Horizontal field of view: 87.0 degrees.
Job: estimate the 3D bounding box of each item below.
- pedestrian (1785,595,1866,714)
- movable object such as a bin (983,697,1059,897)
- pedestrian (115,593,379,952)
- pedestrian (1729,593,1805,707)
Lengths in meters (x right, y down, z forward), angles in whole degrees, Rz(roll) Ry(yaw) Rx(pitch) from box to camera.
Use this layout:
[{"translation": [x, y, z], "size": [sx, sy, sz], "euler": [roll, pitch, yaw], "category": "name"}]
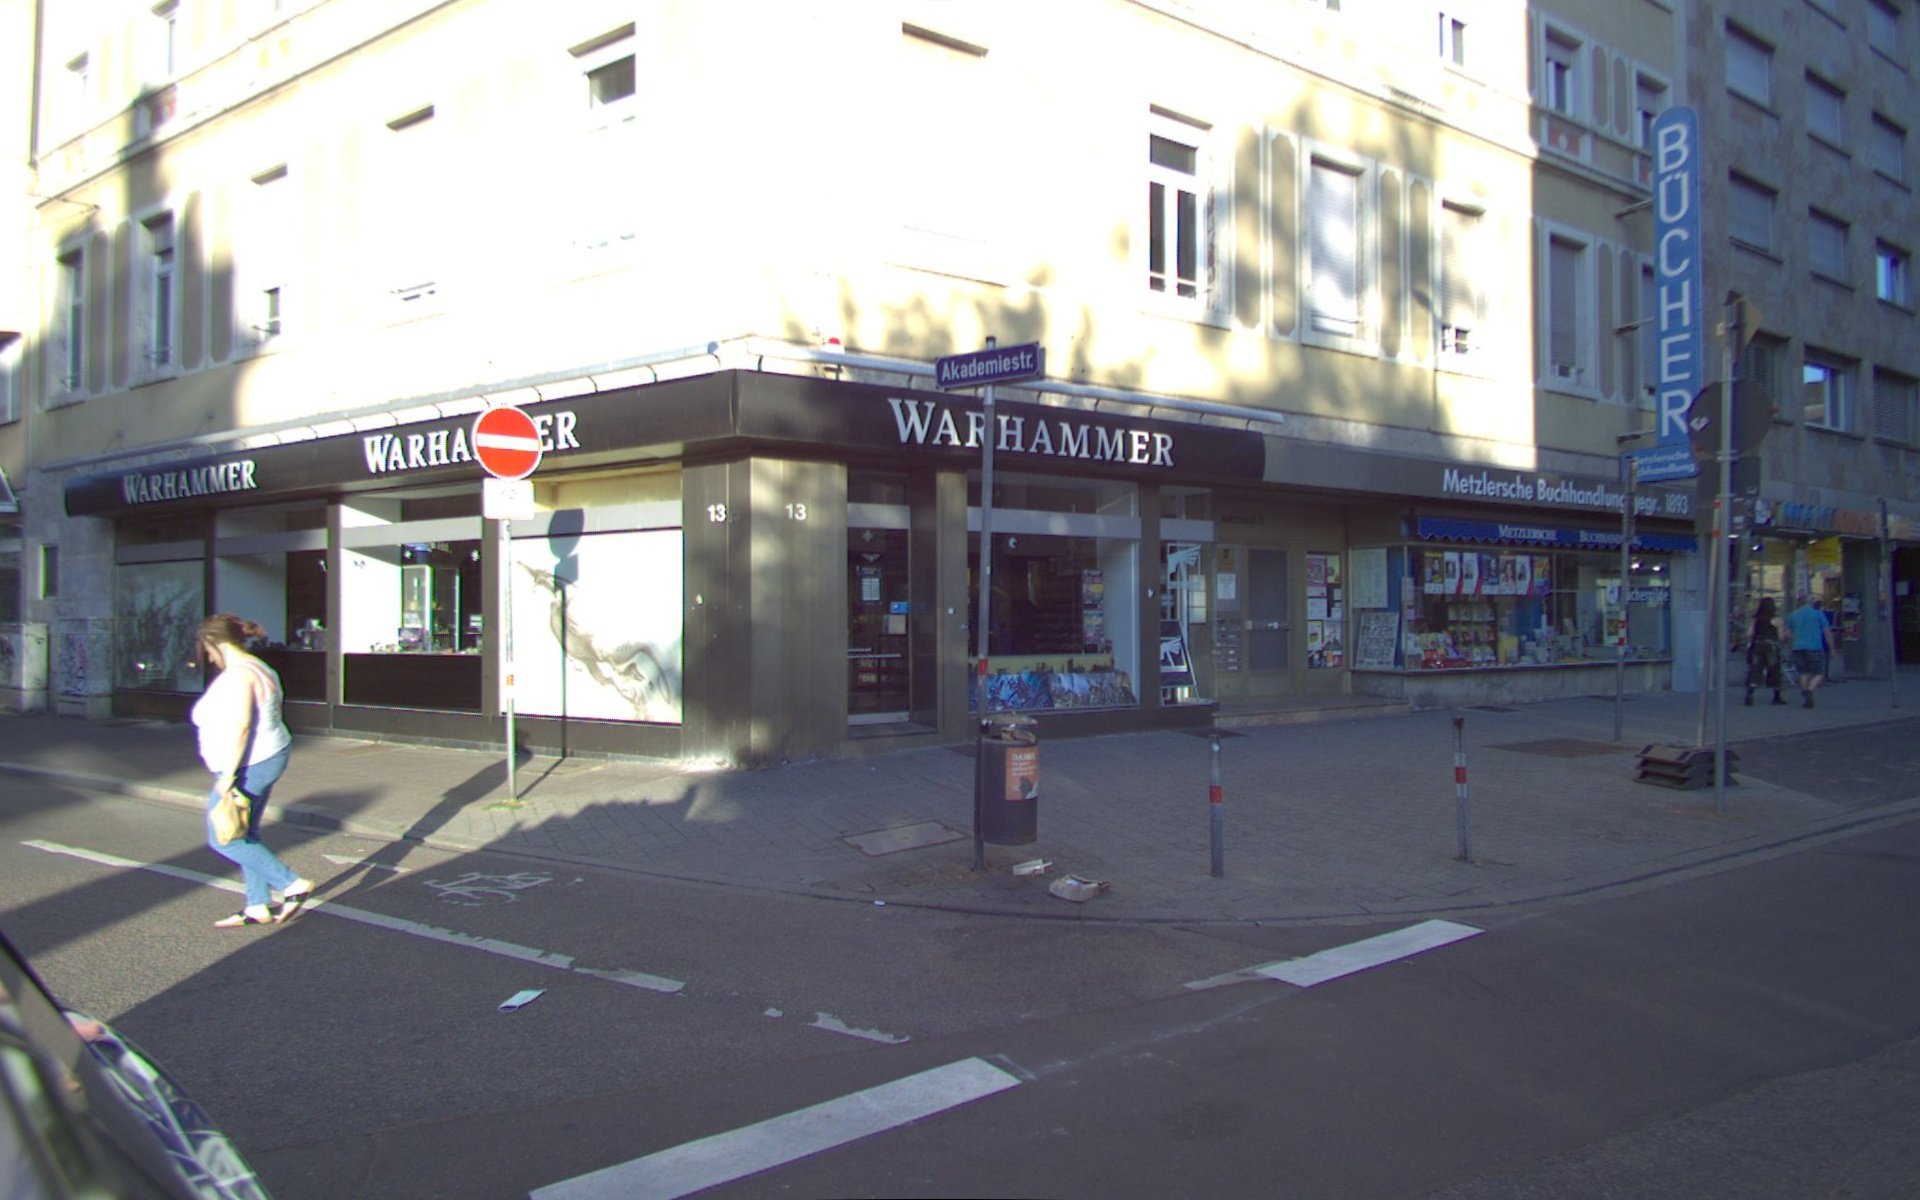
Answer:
[{"translation": [12.889, 0.792, 15.081], "size": [0.789, 1.720, 0.667], "euler": [1, -1, -30], "category": "pedestrian"}, {"translation": [0.357, 1.116, 5.850], "size": [0.353, 1.072, 0.358], "euler": [0, -1, 19], "category": "movable object such as a bin"}, {"translation": [-3.470, 0.789, 5.001], "size": [0.724, 1.625, 0.805], "euler": [0, -1, 0], "category": "pedestrian"}, {"translation": [12.579, 0.760, 15.780], "size": [0.789, 1.720, 0.667], "euler": [1, -1, -30], "category": "pedestrian"}]
